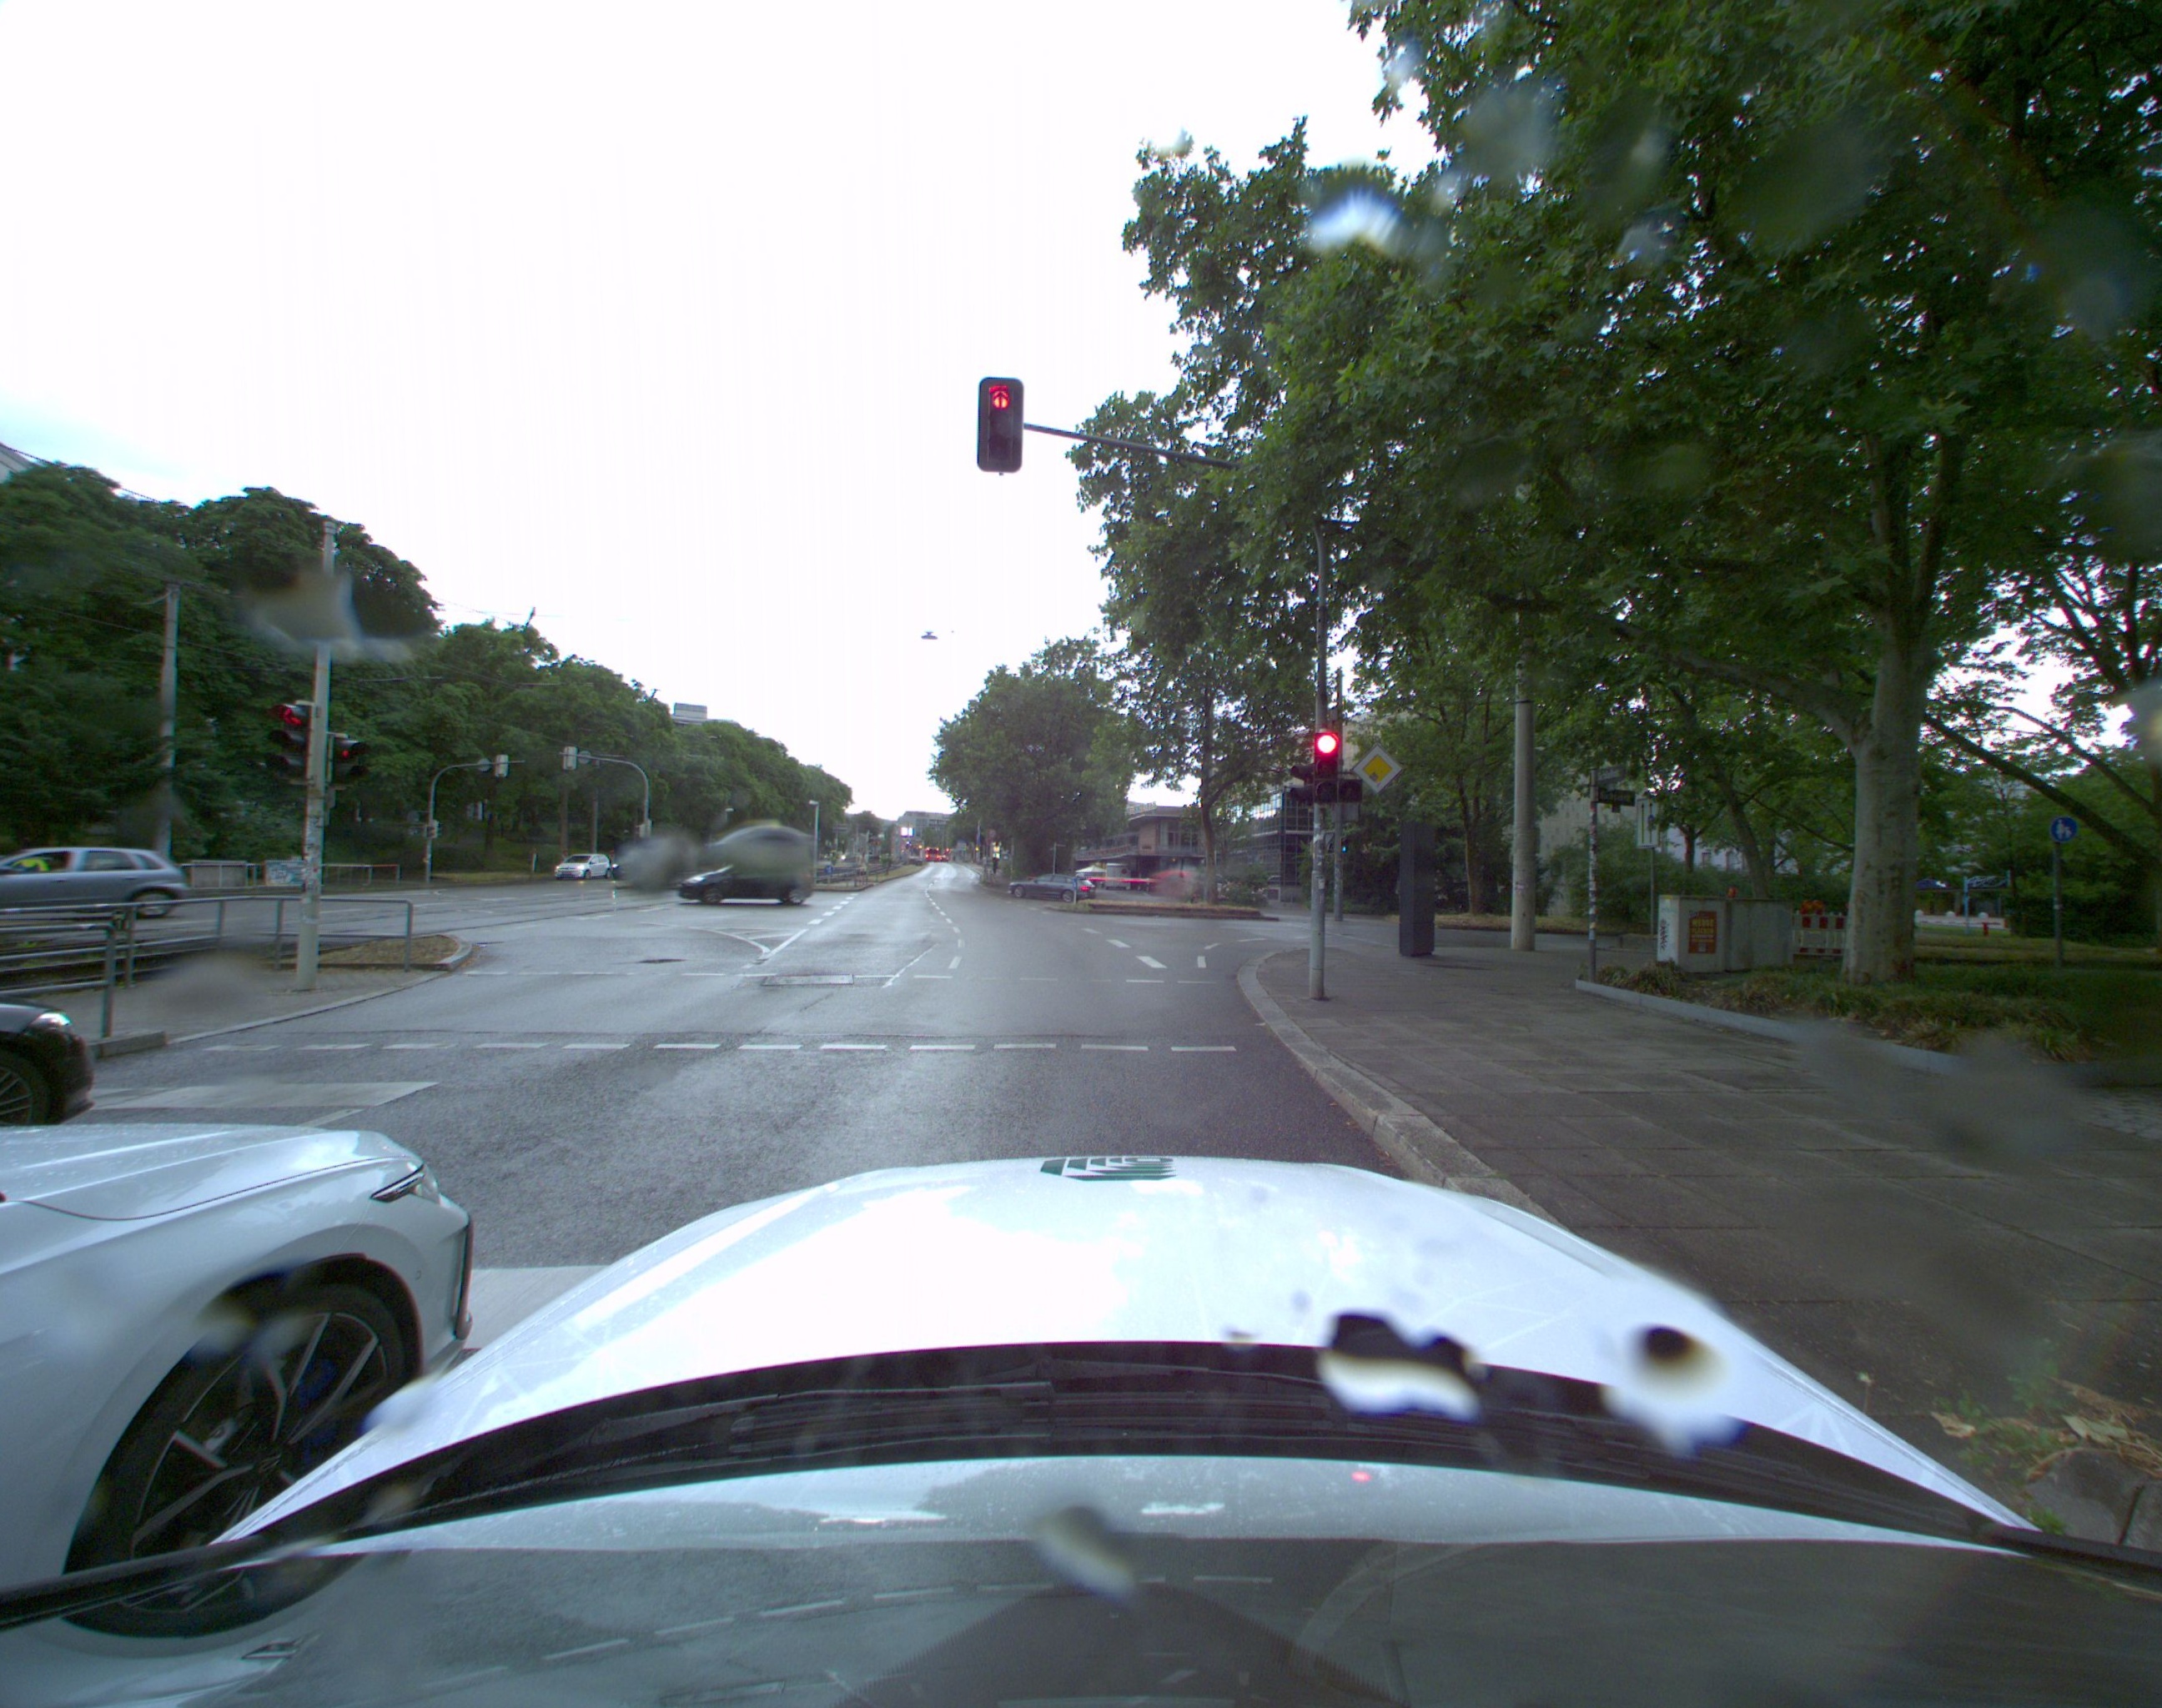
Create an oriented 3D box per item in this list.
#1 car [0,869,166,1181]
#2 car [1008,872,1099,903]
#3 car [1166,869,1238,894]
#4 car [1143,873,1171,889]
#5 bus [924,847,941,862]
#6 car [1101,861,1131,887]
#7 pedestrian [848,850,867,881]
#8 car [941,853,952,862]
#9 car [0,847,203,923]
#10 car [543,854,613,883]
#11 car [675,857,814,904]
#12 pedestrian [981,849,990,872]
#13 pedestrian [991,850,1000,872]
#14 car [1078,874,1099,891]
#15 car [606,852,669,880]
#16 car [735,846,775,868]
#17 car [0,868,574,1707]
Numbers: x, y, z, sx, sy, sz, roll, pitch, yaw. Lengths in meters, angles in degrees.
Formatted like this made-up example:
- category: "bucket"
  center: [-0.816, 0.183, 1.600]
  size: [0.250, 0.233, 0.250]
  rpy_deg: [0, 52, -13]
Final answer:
- category: "car"
  center: [-5.971, 0.794, 2.225]
  size: [1.789, 1.442, 4.477]
  rpy_deg: [0, 0, 2]
- category: "car"
  center: [-1.433, 1.751, 42.939]
  size: [4.299, 1.519, 2.010]
  rpy_deg: [-1, -1, 21]
- category: "car"
  center: [9.272, 2.120, 62.122]
  size: [5.221, 1.731, 1.860]
  rpy_deg: [2, -1, -23]
- category: "car"
  center: [8.288, 2.905, 89.141]
  size: [2.020, 1.551, 4.334]
  rpy_deg: [2, 0, -10]
- category: "bus"
  center: [-32.437, 0.099, 177.483]
  size: [3.591, 3.171, 10.381]
  rpy_deg: [0, -1, -11]
- category: "car"
  center: [3.874, 2.146, 91.490]
  size: [2.725, 2.695, 6.916]
  rpy_deg: [2, 0, -2]
- category: "pedestrian"
  center: [-13.452, 0.679, 49.040]
  size: [0.863, 1.802, 0.871]
  rpy_deg: [2, -1, -2]
- category: "car"
  center: [-30.121, 0.799, 182.399]
  size: [2.364, 1.817, 5.164]
  rpy_deg: [0, -1, -11]
- category: "car"
  center: [-20.048, 0.571, 15.727]
  size: [1.612, 1.357, 3.895]
  rpy_deg: [2, 0, 30]
- category: "car"
  center: [-29.005, 0.826, 47.098]
  size: [1.917, 1.546, 3.674]
  rpy_deg: [1, -1, -5]
- category: "car"
  center: [-10.724, 0.854, 26.038]
  size: [3.883, 1.357, 1.617]
  rpy_deg: [2, -1, -31]
- category: "pedestrian"
  center: [-8.643, 0.607, 73.629]
  size: [0.813, 2.014, 1.075]
  rpy_deg: [0, -1, -6]
- category: "pedestrian"
  center: [-7.737, 0.617, 73.721]
  size: [0.873, 2.014, 1.075]
  rpy_deg: [0, -1, -6]
- category: "car"
  center: [0.856, 3.062, 88.073]
  size: [2.010, 1.551, 4.355]
  rpy_deg: [2, 0, 4]
- category: "car"
  center: [-25.914, 0.717, 47.715]
  size: [1.917, 1.546, 3.674]
  rpy_deg: [1, -1, -5]
- category: "car"
  center: [-28.247, 0.287, 70.761]
  size: [1.917, 1.851, 4.558]
  rpy_deg: [1, -1, -5]
- category: "car"
  center: [-2.523, 0.753, 0.271]
  size: [1.789, 1.442, 4.477]
  rpy_deg: [0, 0, 2]
